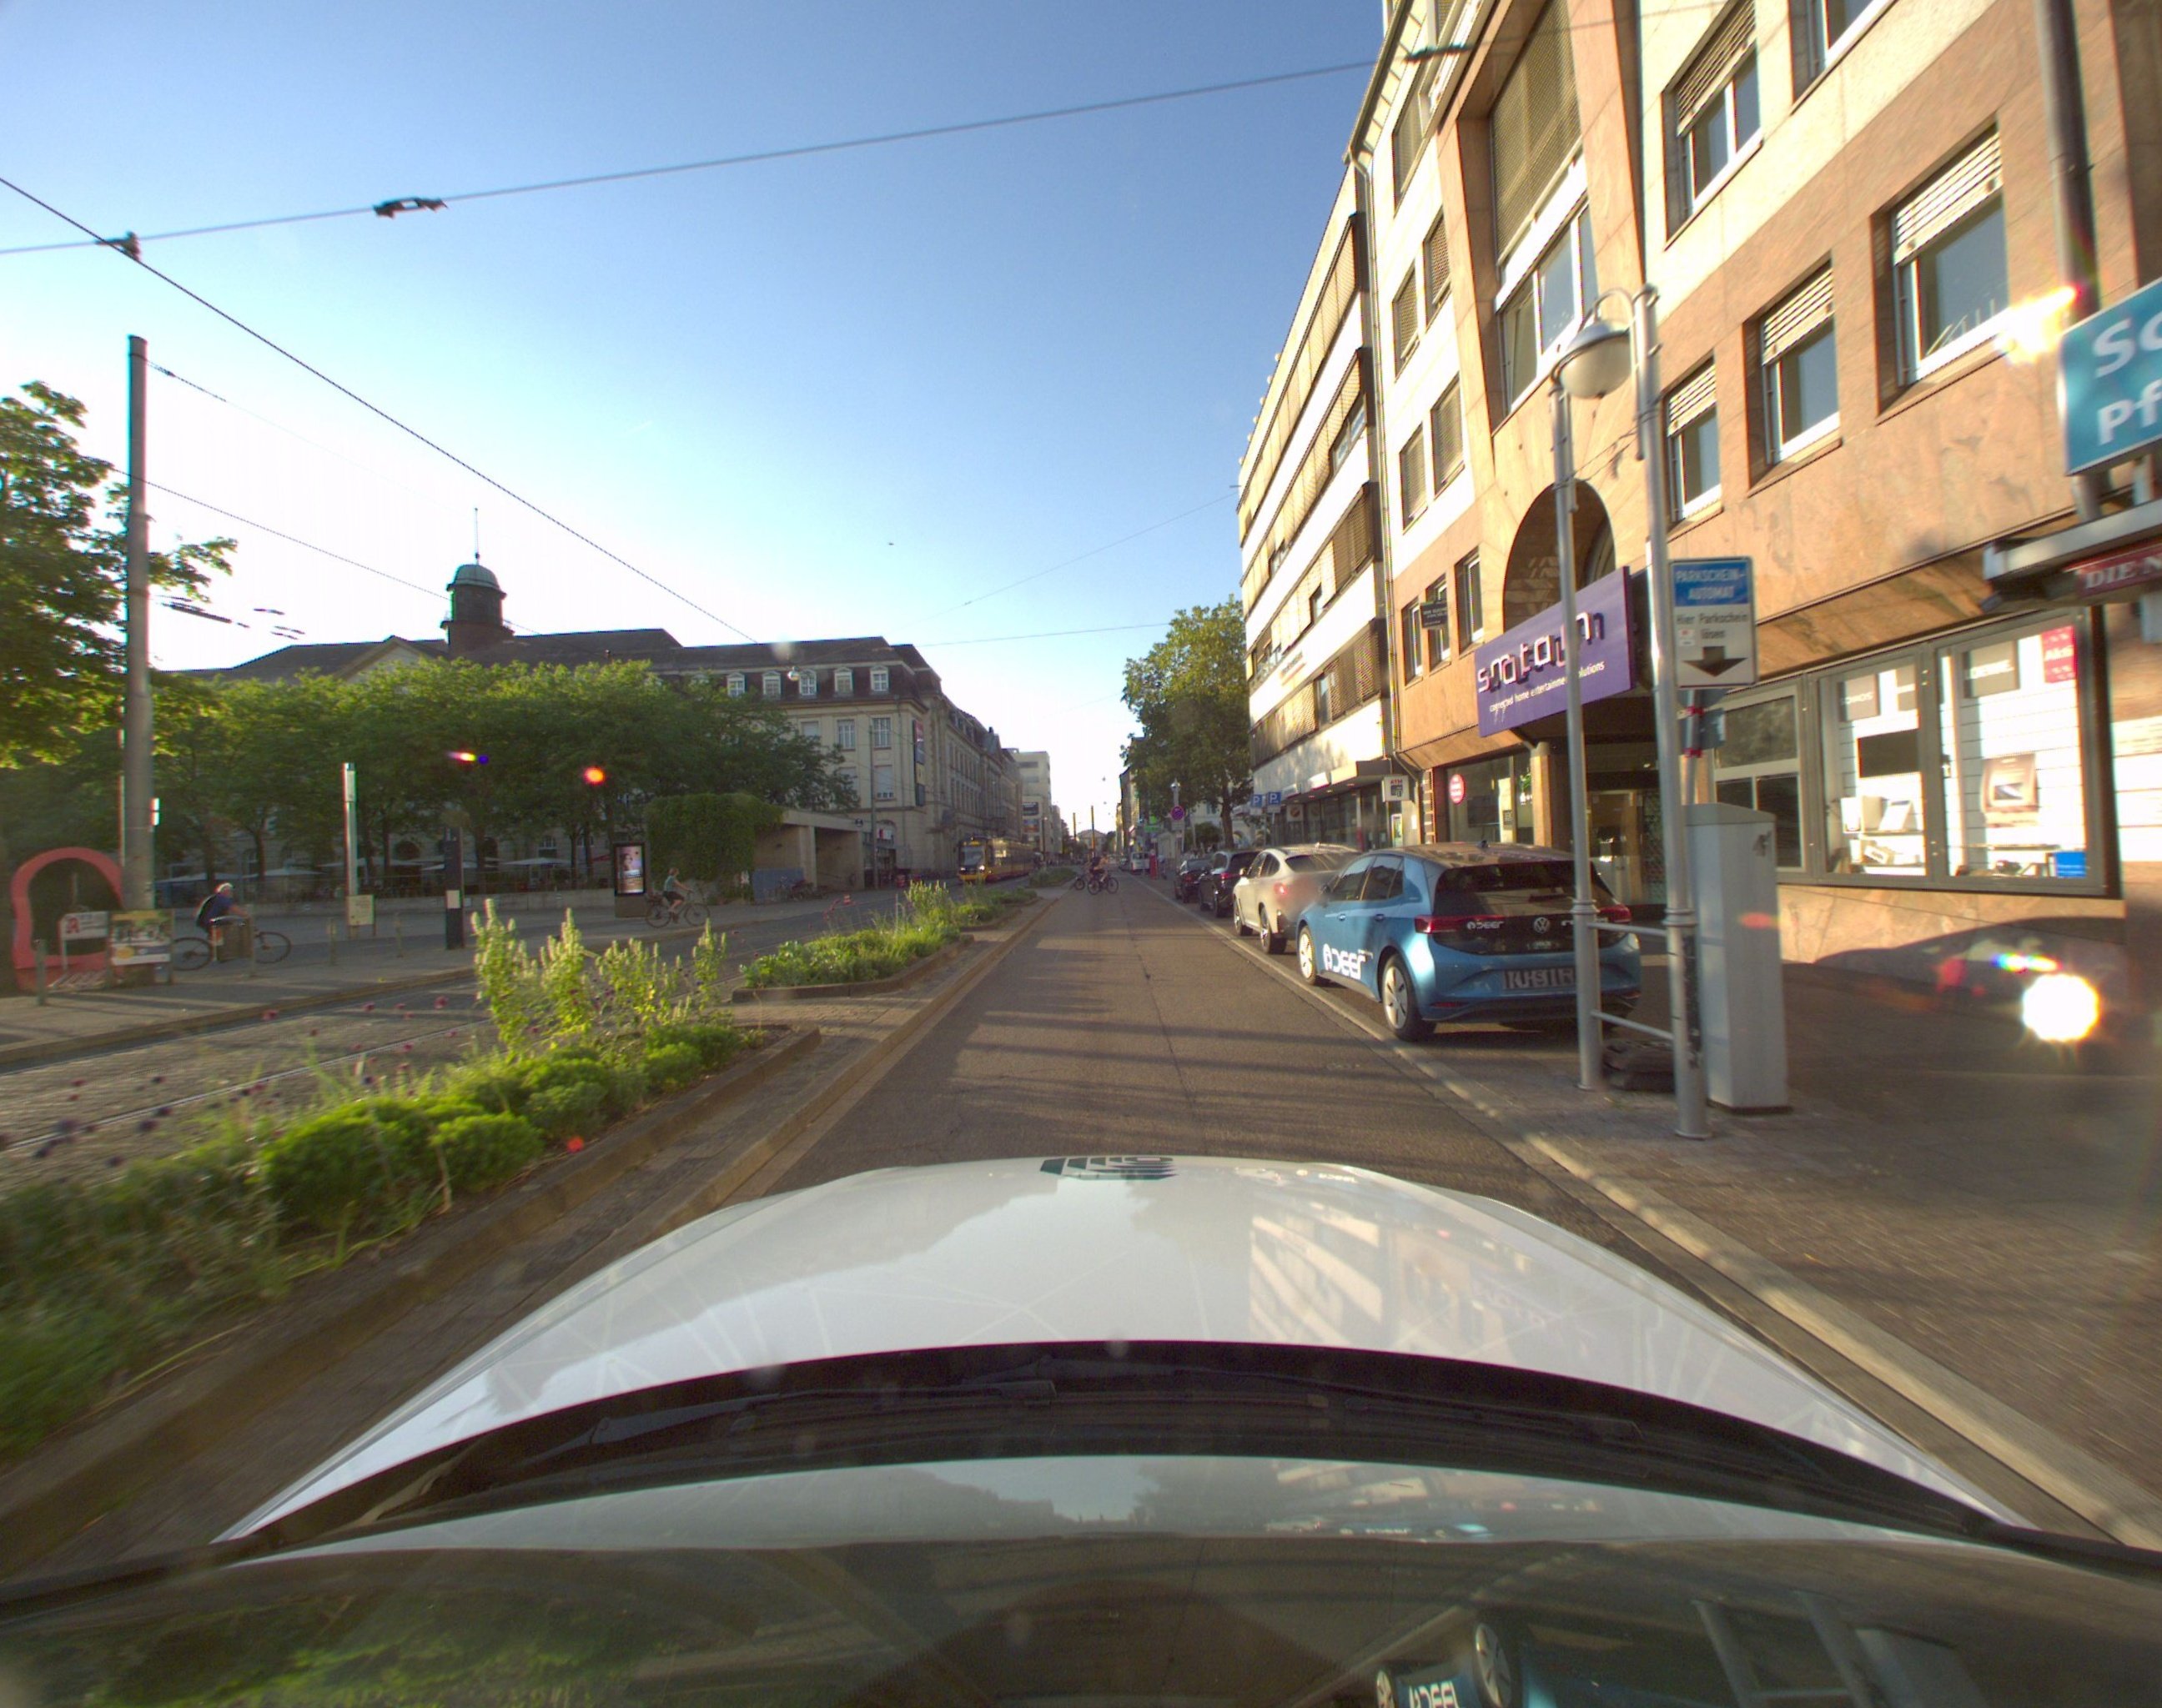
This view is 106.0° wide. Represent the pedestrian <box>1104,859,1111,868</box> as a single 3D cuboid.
[{"bbox_3d":[6.032,2.190,187.501,1.231,1.928,1.017,-2,-1,-15],"label":"pedestrian"}]

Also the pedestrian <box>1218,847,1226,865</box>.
[{"bbox_3d":[10.973,0.163,63.398,0.470,1.305,0.542,-3,-2,16],"label":"pedestrian"}]

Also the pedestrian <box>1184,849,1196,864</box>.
[{"bbox_3d":[9.840,0.247,73.383,0.899,1.314,0.966,-3,-2,1],"label":"pedestrian"}]

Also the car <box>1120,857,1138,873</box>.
[{"bbox_3d":[5.684,1.277,97.369,1.986,1.761,4.422,-3,-1,1],"label":"car"}]

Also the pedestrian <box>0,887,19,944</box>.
[{"bbox_3d":[-39.585,2.242,29.499,0.935,2.061,0.930,-2,0,-4],"label":"pedestrian"}]

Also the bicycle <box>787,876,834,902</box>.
[{"bbox_3d":[-14.145,1.848,42.592,2.233,1.232,0.585,-3,-1,1],"label":"bicycle"}]

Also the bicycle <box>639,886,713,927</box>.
[{"bbox_3d":[-12.254,1.570,24.692,1.946,1.112,0.455,-1,-3,-39],"label":"bicycle"}]

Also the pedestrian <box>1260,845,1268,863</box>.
[{"bbox_3d":[13.265,-0.024,59.060,0.470,1.285,0.542,-3,-2,17],"label":"pedestrian"}]

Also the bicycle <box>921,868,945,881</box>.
[{"bbox_3d":[-14.147,1.981,77.925,2.092,1.148,0.574,-3,-2,-4],"label":"bicycle"}]

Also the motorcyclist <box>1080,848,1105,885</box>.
[{"bbox_3d":[0.595,0.648,41.121,1.003,1.813,0.955,-2,-2,-12],"label":"motorcyclist"}]

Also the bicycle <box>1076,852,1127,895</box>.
[{"bbox_3d":[0.914,0.819,35.176,2.381,1.740,0.596,-2,-1,-43],"label":"bicycle"}]

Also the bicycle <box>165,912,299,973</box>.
[{"bbox_3d":[-18.412,1.904,17.709,1.934,1.112,0.456,-3,-1,-30],"label":"bicycle"}]

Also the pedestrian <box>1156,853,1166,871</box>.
[{"bbox_3d":[8.308,0.832,84.283,0.785,1.751,0.893,-2,-2,-6],"label":"pedestrian"}]

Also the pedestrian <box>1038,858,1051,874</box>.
[{"bbox_3d":[-3.742,1.245,84.139,0.710,1.514,1.043,-5,-3,44],"label":"pedestrian"}]

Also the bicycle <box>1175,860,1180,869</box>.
[{"bbox_3d":[9.215,1.008,77.877,0.249,0.902,1.374,-3,-2,2],"label":"bicycle"}]

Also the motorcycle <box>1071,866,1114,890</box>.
[{"bbox_3d":[0.577,1.216,41.065,2.046,1.123,0.565,-2,-2,-13],"label":"motorcycle"}]

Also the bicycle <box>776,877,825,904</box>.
[{"bbox_3d":[-14.096,1.833,40.917,2.233,1.255,0.580,-3,-2,1],"label":"bicycle"}]

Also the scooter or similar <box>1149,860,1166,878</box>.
[{"bbox_3d":[5.595,1.096,59.369,1.120,1.216,0.300,-4,-1,2],"label":"scooter or similar"}]

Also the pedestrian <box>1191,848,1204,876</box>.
[{"bbox_3d":[7.244,0.500,50.781,0.675,1.717,0.655,-3,-2,4],"label":"pedestrian"}]

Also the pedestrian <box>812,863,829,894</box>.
[{"bbox_3d":[-16.689,1.564,52.181,0.721,1.934,0.793,-3,-2,5],"label":"pedestrian"}]

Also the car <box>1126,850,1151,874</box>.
[{"bbox_3d":[5.094,0.716,72.612,1.908,1.981,4.422,-3,-1,1],"label":"car"}]

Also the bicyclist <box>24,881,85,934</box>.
[{"bbox_3d":[-41.135,2.124,32.649,0.955,2.019,1.143,-3,-2,0],"label":"bicyclist"}]

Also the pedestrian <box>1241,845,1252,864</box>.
[{"bbox_3d":[11.858,0.034,58.272,0.639,1.285,0.744,-3,-2,17],"label":"pedestrian"}]

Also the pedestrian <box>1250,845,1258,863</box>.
[{"bbox_3d":[12.647,0.026,59.510,0.470,1.285,0.542,-3,-2,17],"label":"pedestrian"}]

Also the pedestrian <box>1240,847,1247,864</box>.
[{"bbox_3d":[12.373,0.091,62.023,0.470,1.242,0.542,-3,-2,16],"label":"pedestrian"}]

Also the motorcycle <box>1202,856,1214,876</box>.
[{"bbox_3d":[7.984,0.762,51.244,0.453,1.158,2.031,-3,-2,2],"label":"motorcycle"}]

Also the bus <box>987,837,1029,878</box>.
[{"bbox_3d":[-6.865,0.322,77.665,2.812,3.624,8.292,-3,0,2],"label":"bus"}]

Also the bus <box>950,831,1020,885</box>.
[{"bbox_3d":[-7.285,0.328,65.011,2.812,3.651,17.079,-3,0,2],"label":"bus"}]

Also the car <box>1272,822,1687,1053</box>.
[{"bbox_3d":[3.386,0.605,8.176,1.803,1.552,4.836,-2,0,1],"label":"car"}]

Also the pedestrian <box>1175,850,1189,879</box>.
[{"bbox_3d":[6.482,0.651,52.226,0.711,1.803,0.825,-4,-1,4],"label":"pedestrian"}]

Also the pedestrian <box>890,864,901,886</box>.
[{"bbox_3d":[-14.075,1.580,61.690,0.717,1.646,0.655,-1,-1,-21],"label":"pedestrian"}]

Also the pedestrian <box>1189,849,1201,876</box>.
[{"bbox_3d":[7.202,0.544,51.512,0.611,1.717,0.662,-3,-2,3],"label":"pedestrian"}]

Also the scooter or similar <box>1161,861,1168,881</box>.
[{"bbox_3d":[5.333,1.066,51.863,0.313,1.221,1.275,-2,-1,9],"label":"scooter or similar"}]

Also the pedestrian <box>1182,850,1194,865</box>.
[{"bbox_3d":[9.805,0.283,74.400,0.899,1.306,0.966,-3,-2,1],"label":"pedestrian"}]

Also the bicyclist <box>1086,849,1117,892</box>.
[{"bbox_3d":[0.882,0.720,35.147,0.934,1.776,0.962,-2,-1,-28],"label":"bicyclist"}]

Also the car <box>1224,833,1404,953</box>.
[{"bbox_3d":[3.626,0.552,13.607,1.809,1.585,4.726,-2,0,3],"label":"car"}]

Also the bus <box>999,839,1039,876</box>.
[{"bbox_3d":[-6.552,0.447,87.759,2.812,3.612,11.826,-3,-1,2],"label":"bus"}]

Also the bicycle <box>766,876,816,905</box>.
[{"bbox_3d":[-14.018,1.749,39.390,2.189,1.300,0.580,-3,-2,1],"label":"bicycle"}]

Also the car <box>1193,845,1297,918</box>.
[{"bbox_3d":[4.026,0.604,20.754,1.769,1.538,4.579,-3,1,1],"label":"car"}]

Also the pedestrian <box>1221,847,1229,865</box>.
[{"bbox_3d":[10.894,0.136,61.550,0.470,1.330,0.542,-3,-2,16],"label":"pedestrian"}]

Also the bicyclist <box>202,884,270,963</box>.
[{"bbox_3d":[-18.389,1.490,17.743,0.805,1.611,0.732,-3,-1,-29],"label":"bicyclist"}]

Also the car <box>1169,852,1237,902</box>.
[{"bbox_3d":[4.063,0.734,27.682,1.649,1.380,4.342,-6,-1,2],"label":"car"}]

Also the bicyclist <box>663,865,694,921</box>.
[{"bbox_3d":[-12.220,1.187,24.728,0.708,1.668,0.621,-1,-3,-38],"label":"bicyclist"}]

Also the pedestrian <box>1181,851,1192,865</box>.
[{"bbox_3d":[9.925,0.386,76.763,0.820,1.306,0.869,-3,-2,1],"label":"pedestrian"}]

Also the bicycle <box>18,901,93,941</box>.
[{"bbox_3d":[-41.060,2.666,32.603,2.234,1.476,0.579,-3,-2,0],"label":"bicycle"}]

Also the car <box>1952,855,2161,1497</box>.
[{"bbox_3d":[3.262,0.645,0.137,1.725,1.435,4.151,-3,-2,0],"label":"car"}]

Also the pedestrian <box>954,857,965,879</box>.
[{"bbox_3d":[-10.434,1.228,69.929,0.690,1.847,0.662,-3,-2,1],"label":"pedestrian"}]

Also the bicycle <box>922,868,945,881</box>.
[{"bbox_3d":[-14.191,2.005,78.592,2.073,1.148,0.574,-3,-2,-4],"label":"bicycle"}]
